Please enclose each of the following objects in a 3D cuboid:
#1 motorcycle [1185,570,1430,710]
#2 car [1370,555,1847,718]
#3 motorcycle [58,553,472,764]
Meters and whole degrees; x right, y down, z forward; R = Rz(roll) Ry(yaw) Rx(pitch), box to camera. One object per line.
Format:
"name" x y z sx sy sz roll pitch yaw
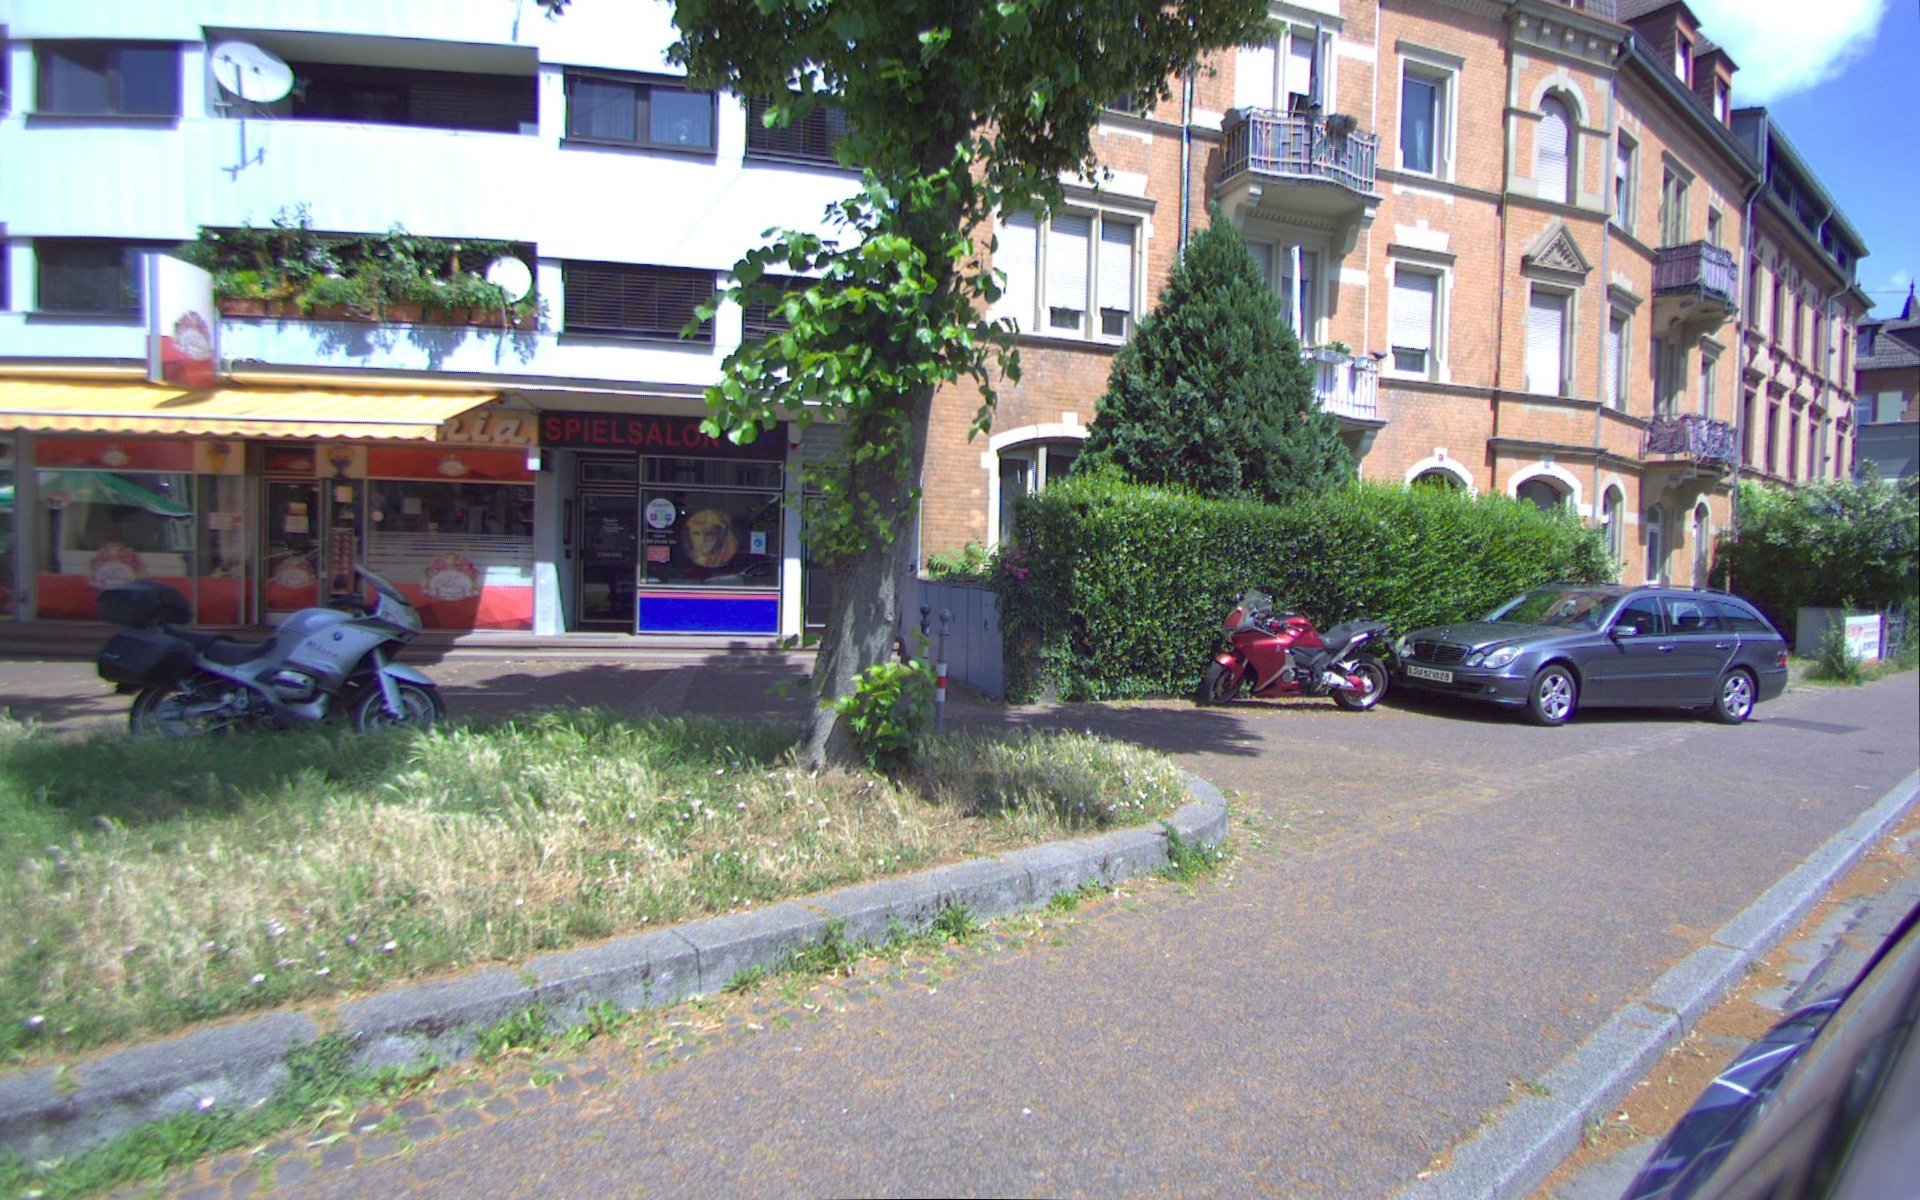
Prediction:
"motorcycle" 3.588 0.411 10.478 2.232 1.318 0.935 2 2 -19
"car" 7.395 0.399 11.539 5.047 1.567 1.845 2 2 -20
"motorcycle" -4.692 0.371 7.028 2.179 1.329 0.920 0 0 -11
